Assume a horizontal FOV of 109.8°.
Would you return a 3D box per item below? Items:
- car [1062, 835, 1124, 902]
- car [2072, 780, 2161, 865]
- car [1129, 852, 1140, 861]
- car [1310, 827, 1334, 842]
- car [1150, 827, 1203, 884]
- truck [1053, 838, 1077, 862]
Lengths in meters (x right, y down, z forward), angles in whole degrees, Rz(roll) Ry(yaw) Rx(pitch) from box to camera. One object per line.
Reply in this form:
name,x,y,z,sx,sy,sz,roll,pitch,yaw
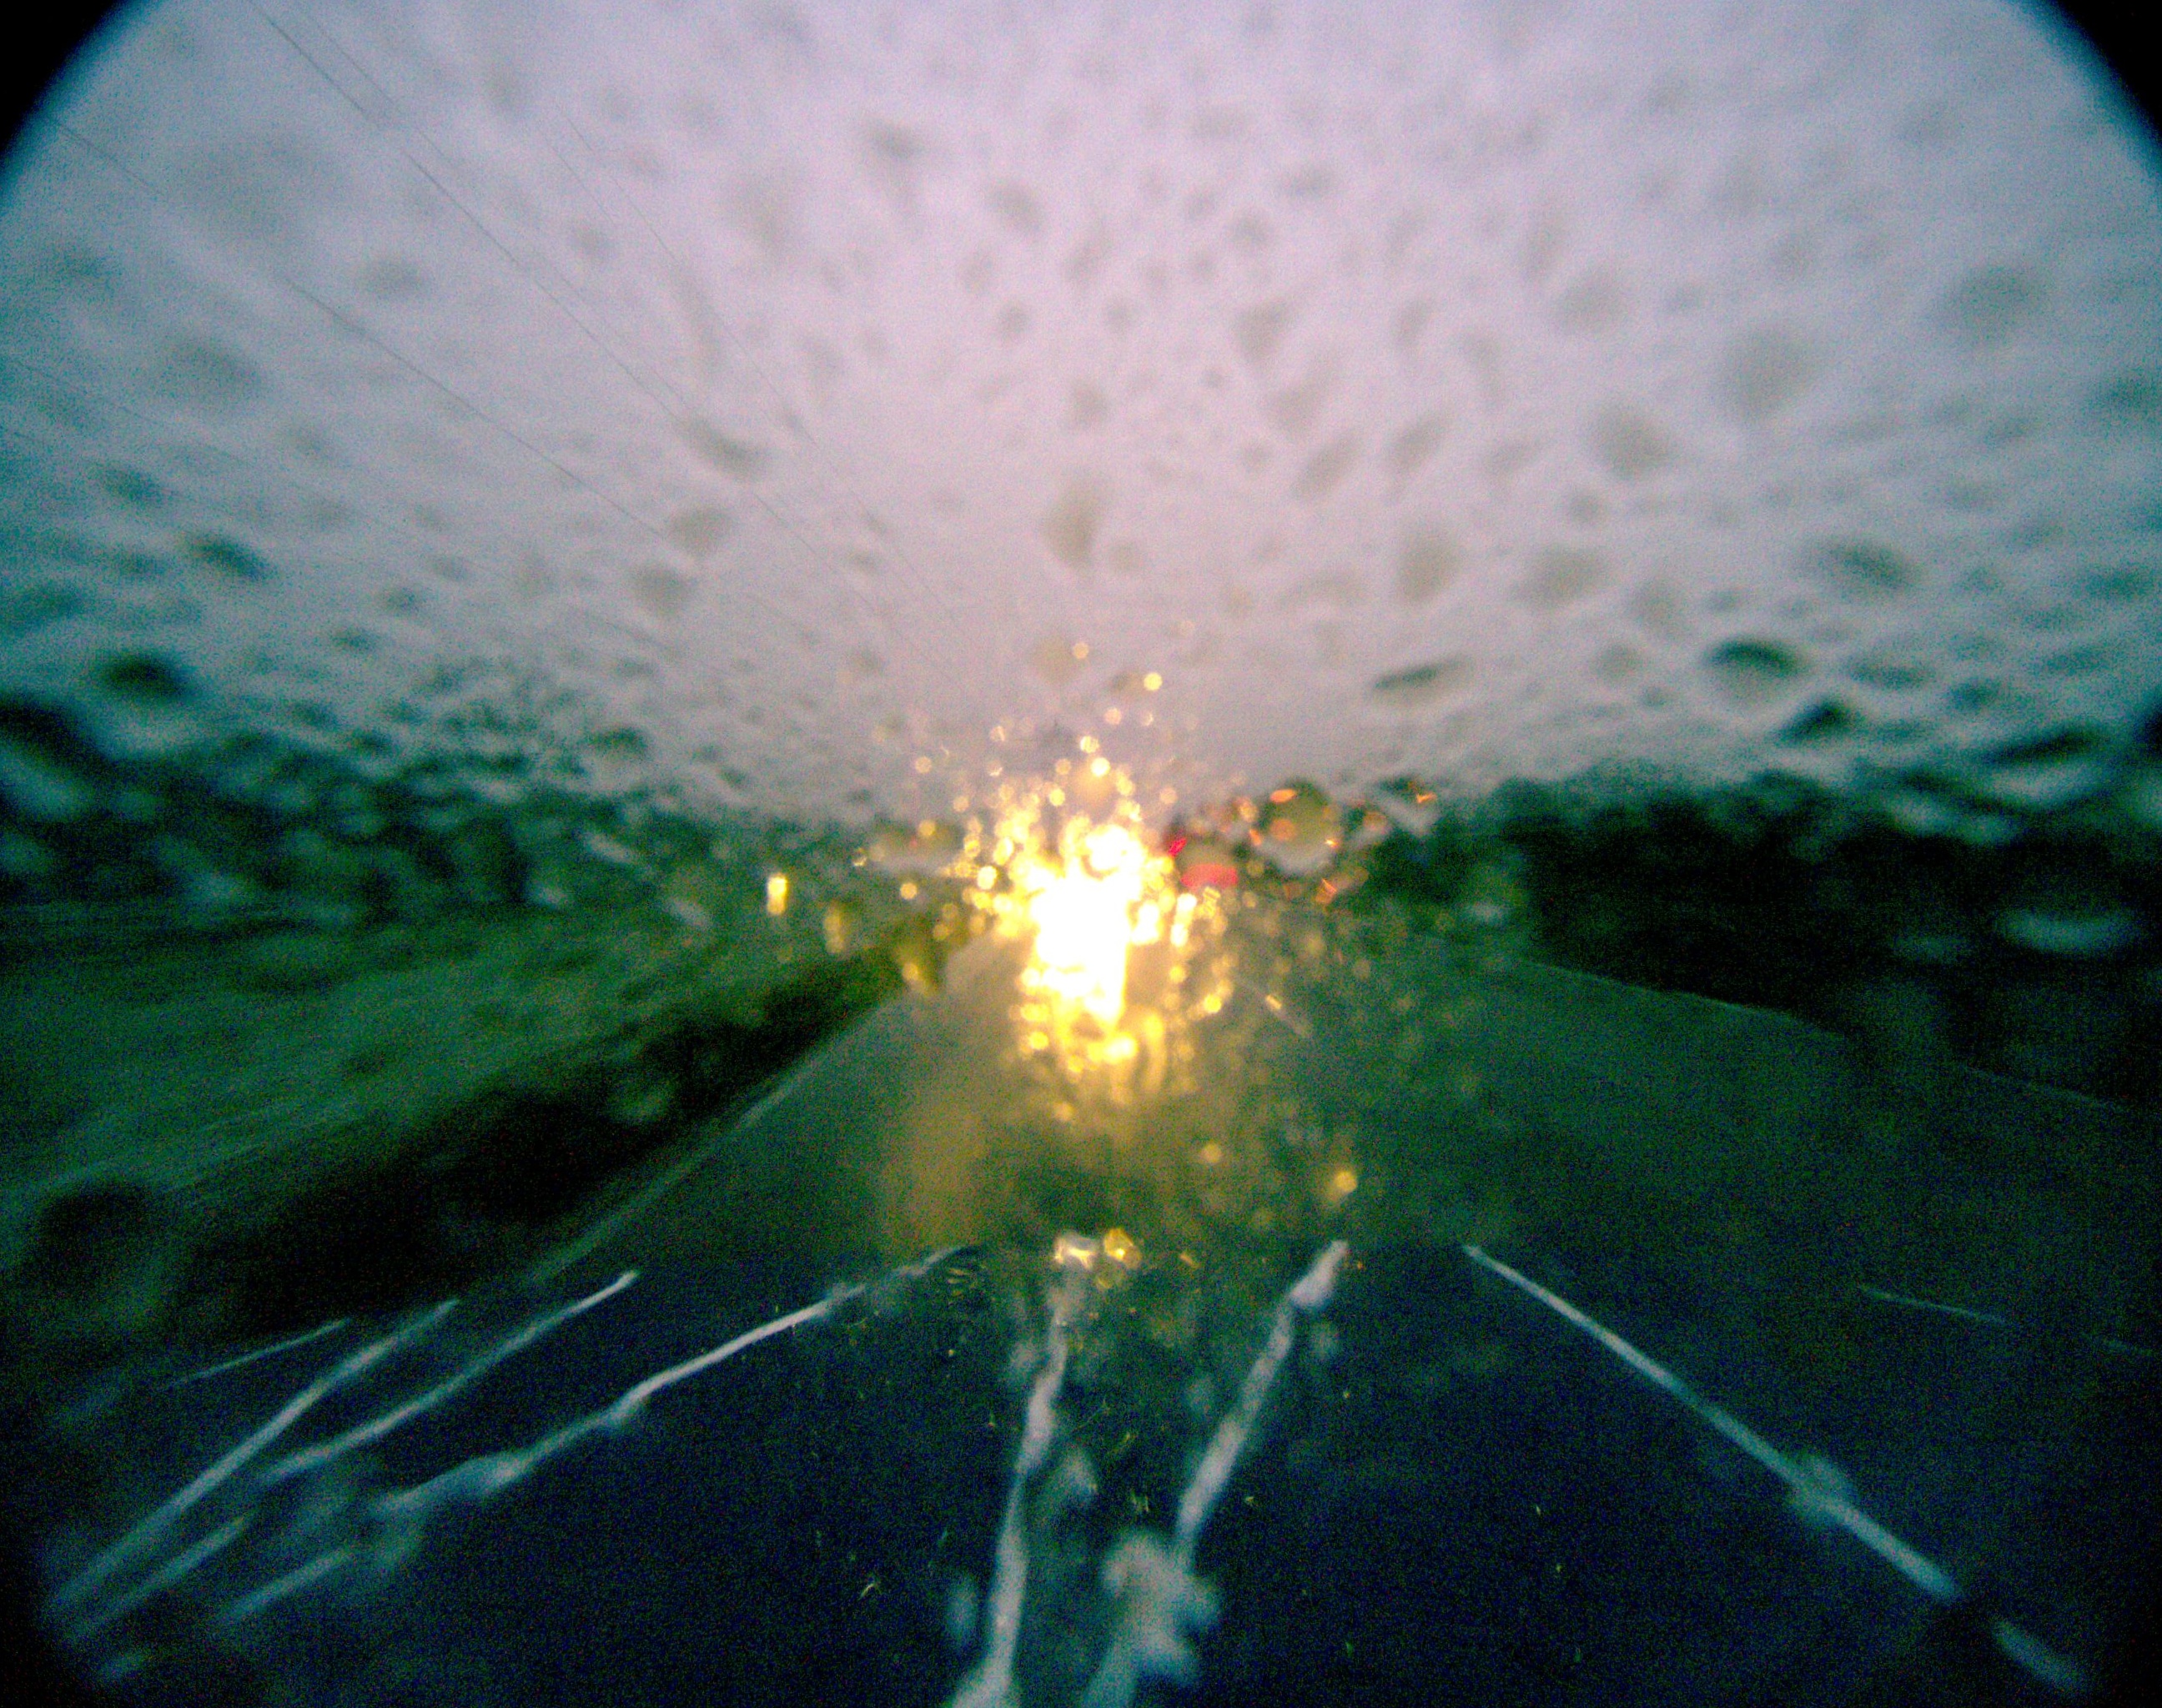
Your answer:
car,0.383,0.421,25.497,1.857,2.002,3.999,-2,1,0
car,26.784,-0.779,16.863,2.318,2.002,5.603,-2,1,1
car,9.899,0.433,141.153,1.790,1.582,4.487,-2,0,3
car,30.412,-2.415,95.853,1.726,1.702,4.110,-2,1,0
car,4.836,0.083,39.274,1.958,2.659,6.271,-2,0,1
truck,-2.065,-0.542,100.258,2.540,2.961,7.858,-2,1,3
